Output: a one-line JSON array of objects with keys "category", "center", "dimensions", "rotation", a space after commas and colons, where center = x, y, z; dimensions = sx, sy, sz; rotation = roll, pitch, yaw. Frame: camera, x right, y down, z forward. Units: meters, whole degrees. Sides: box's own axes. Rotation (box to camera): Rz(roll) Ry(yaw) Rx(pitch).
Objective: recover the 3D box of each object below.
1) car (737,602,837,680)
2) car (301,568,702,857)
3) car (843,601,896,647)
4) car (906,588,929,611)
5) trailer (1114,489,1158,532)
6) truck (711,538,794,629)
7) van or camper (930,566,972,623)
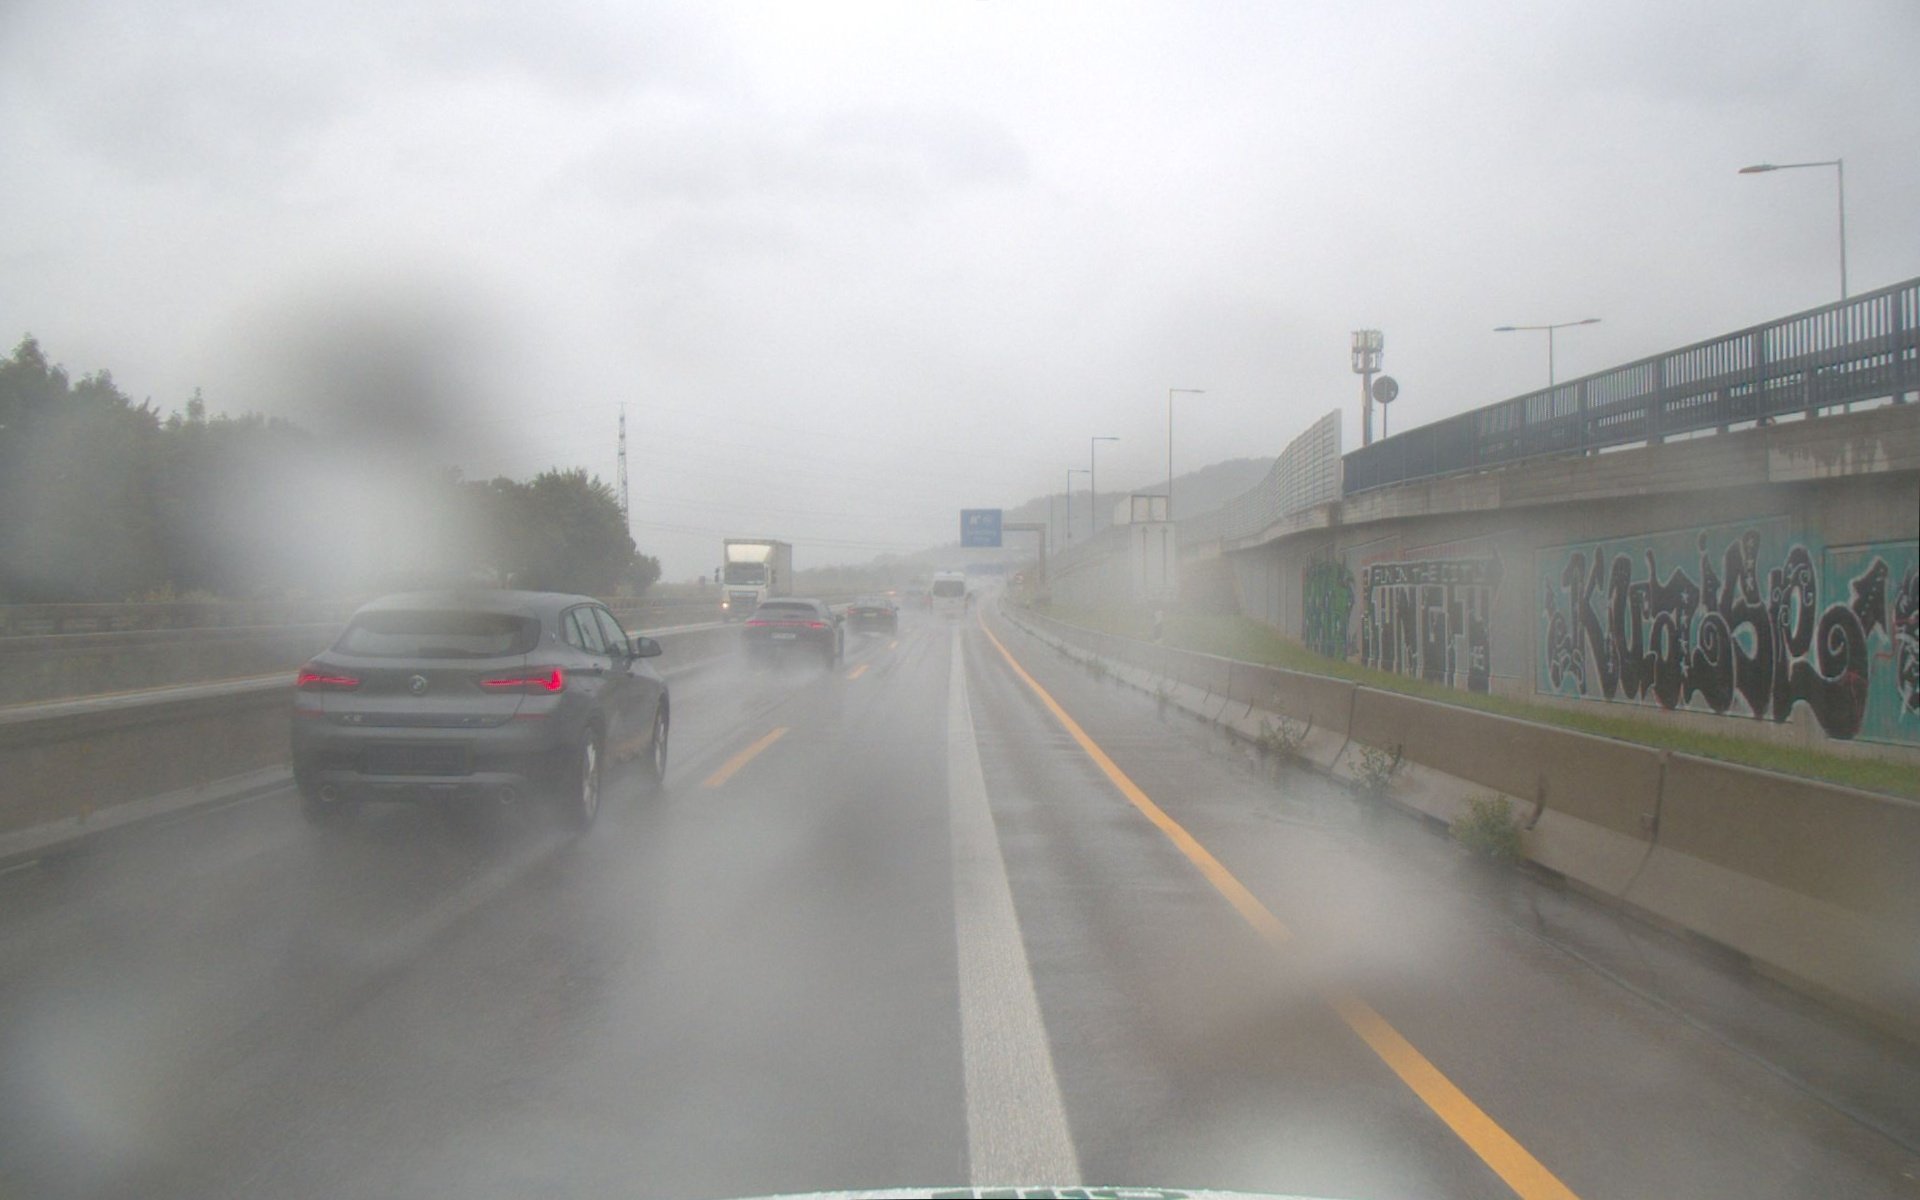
[{"category": "car", "center": [-3.588, 0.842, 34.981], "dimensions": [1.807, 1.517, 4.259], "rotation": [1, -1, -2]}, {"category": "car", "center": [-2.988, 0.679, 11.862], "dimensions": [1.667, 1.626, 4.842], "rotation": [1, -1, -2]}, {"category": "car", "center": [-3.290, 0.864, 60.726], "dimensions": [1.807, 1.517, 4.260], "rotation": [-2, 1, -2]}, {"category": "car", "center": [-2.989, -0.035, 116.135], "dimensions": [1.535, 1.506, 2.820], "rotation": [-2, -1, -2]}, {"category": "trailer", "center": [12.740, -6.397, 120.337], "dimensions": [1.952, 2.143, 13.769], "rotation": [1, -1, 1]}, {"category": "truck", "center": [-10.208, -0.697, 82.455], "dimensions": [2.943, 4.239, 9.829], "rotation": [0, -1, 0]}, {"category": "van or camper", "center": [-0.489, -0.232, 85.009], "dimensions": [1.956, 2.826, 4.047], "rotation": [1, -1, -2]}]
